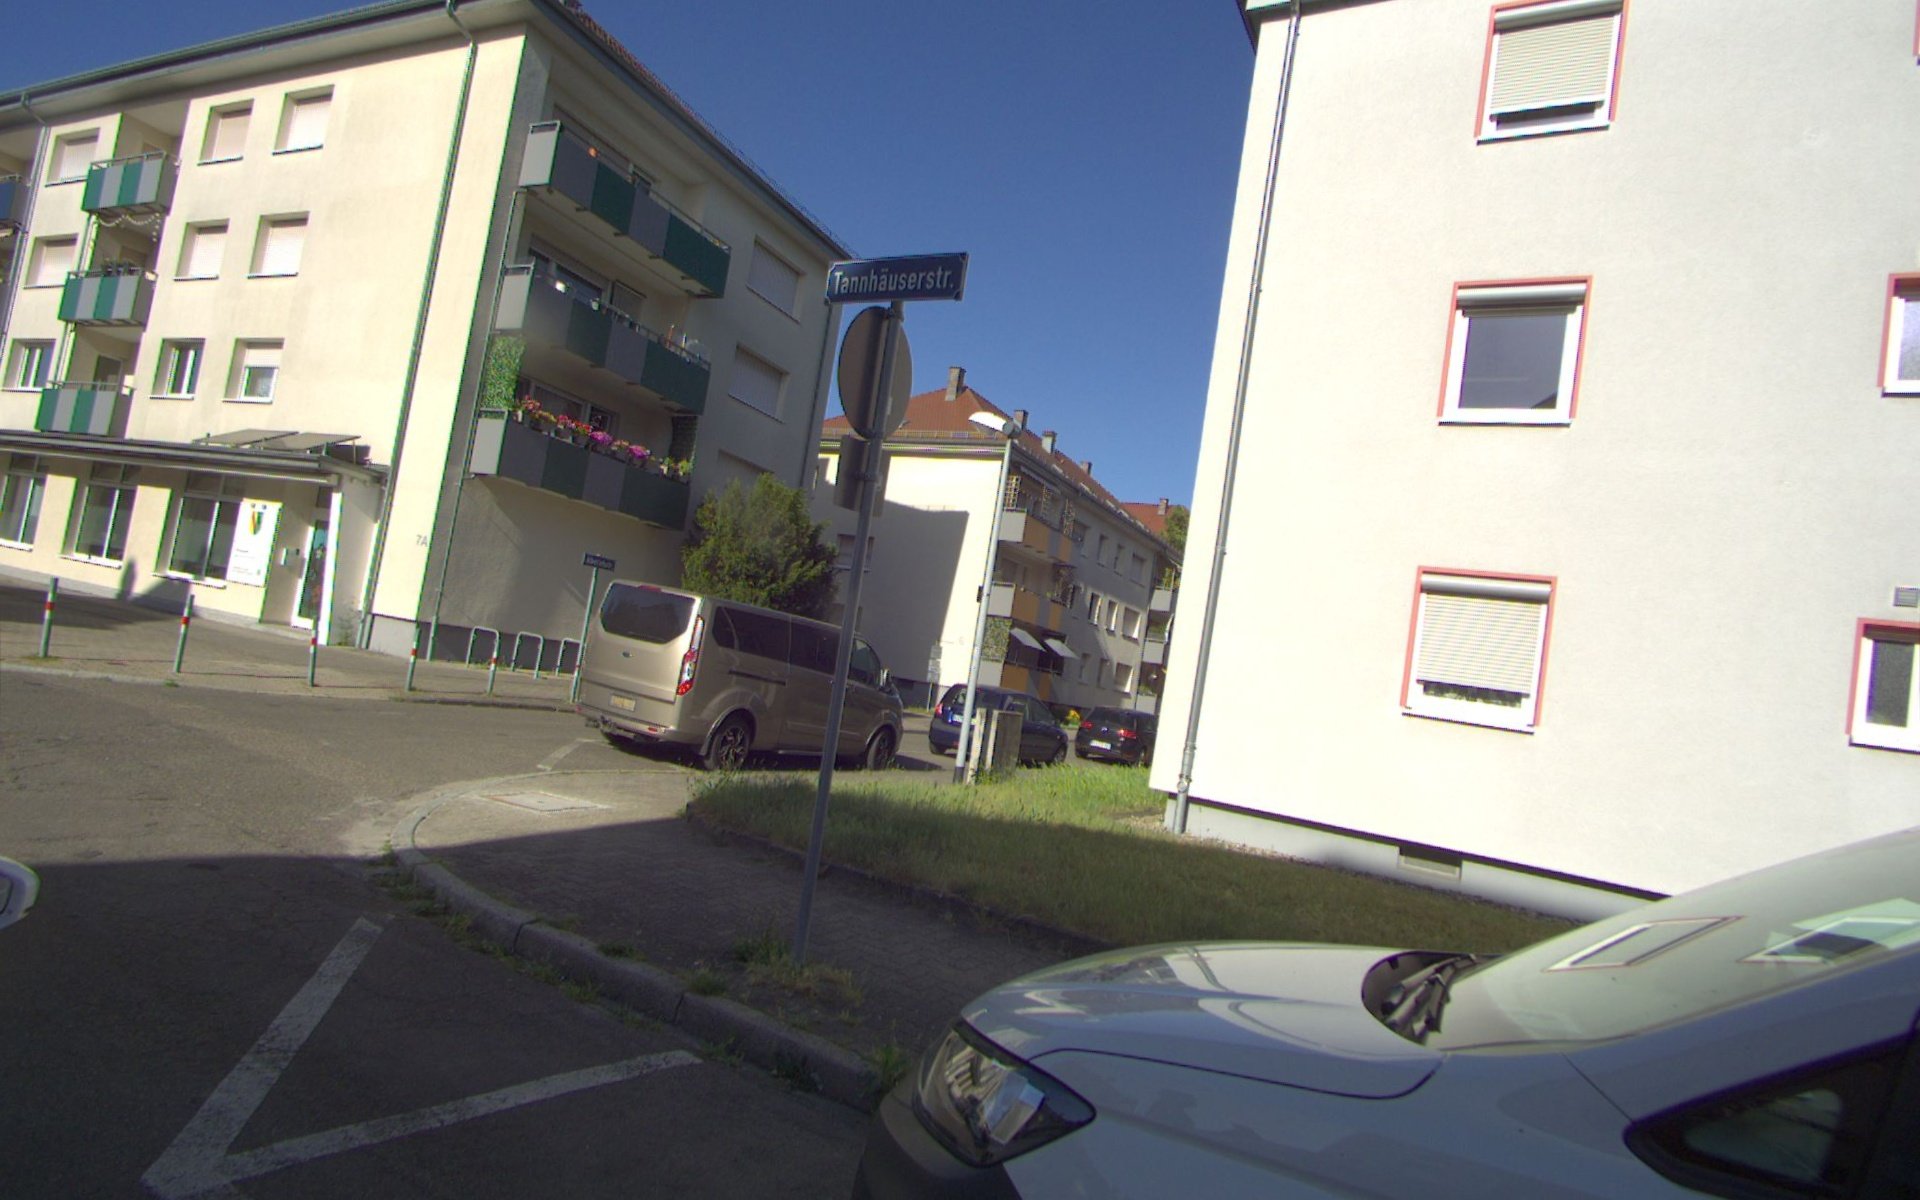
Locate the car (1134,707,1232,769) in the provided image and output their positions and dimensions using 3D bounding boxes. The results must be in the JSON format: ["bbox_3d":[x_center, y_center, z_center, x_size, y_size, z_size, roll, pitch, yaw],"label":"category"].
[{"bbox_3d":[6.862,4.229,30.593,1.651,1.470,4.082,9,-4,29],"label":"car"}]

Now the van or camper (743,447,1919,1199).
[{"bbox_3d":[2.128,0.987,1.217,4.655,1.765,1.799,7,-4,31],"label":"van or camper"}]

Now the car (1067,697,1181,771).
[{"bbox_3d":[4.289,3.482,25.928,1.651,1.470,3.487,9,-4,29],"label":"car"}]

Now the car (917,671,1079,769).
[{"bbox_3d":[0.849,2.423,19.911,1.652,1.545,3.487,7,-5,29],"label":"car"}]

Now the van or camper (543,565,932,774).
[{"bbox_3d":[-2.624,1.100,13.480,1.965,2.034,5.145,9,-4,28],"label":"van or camper"}]
